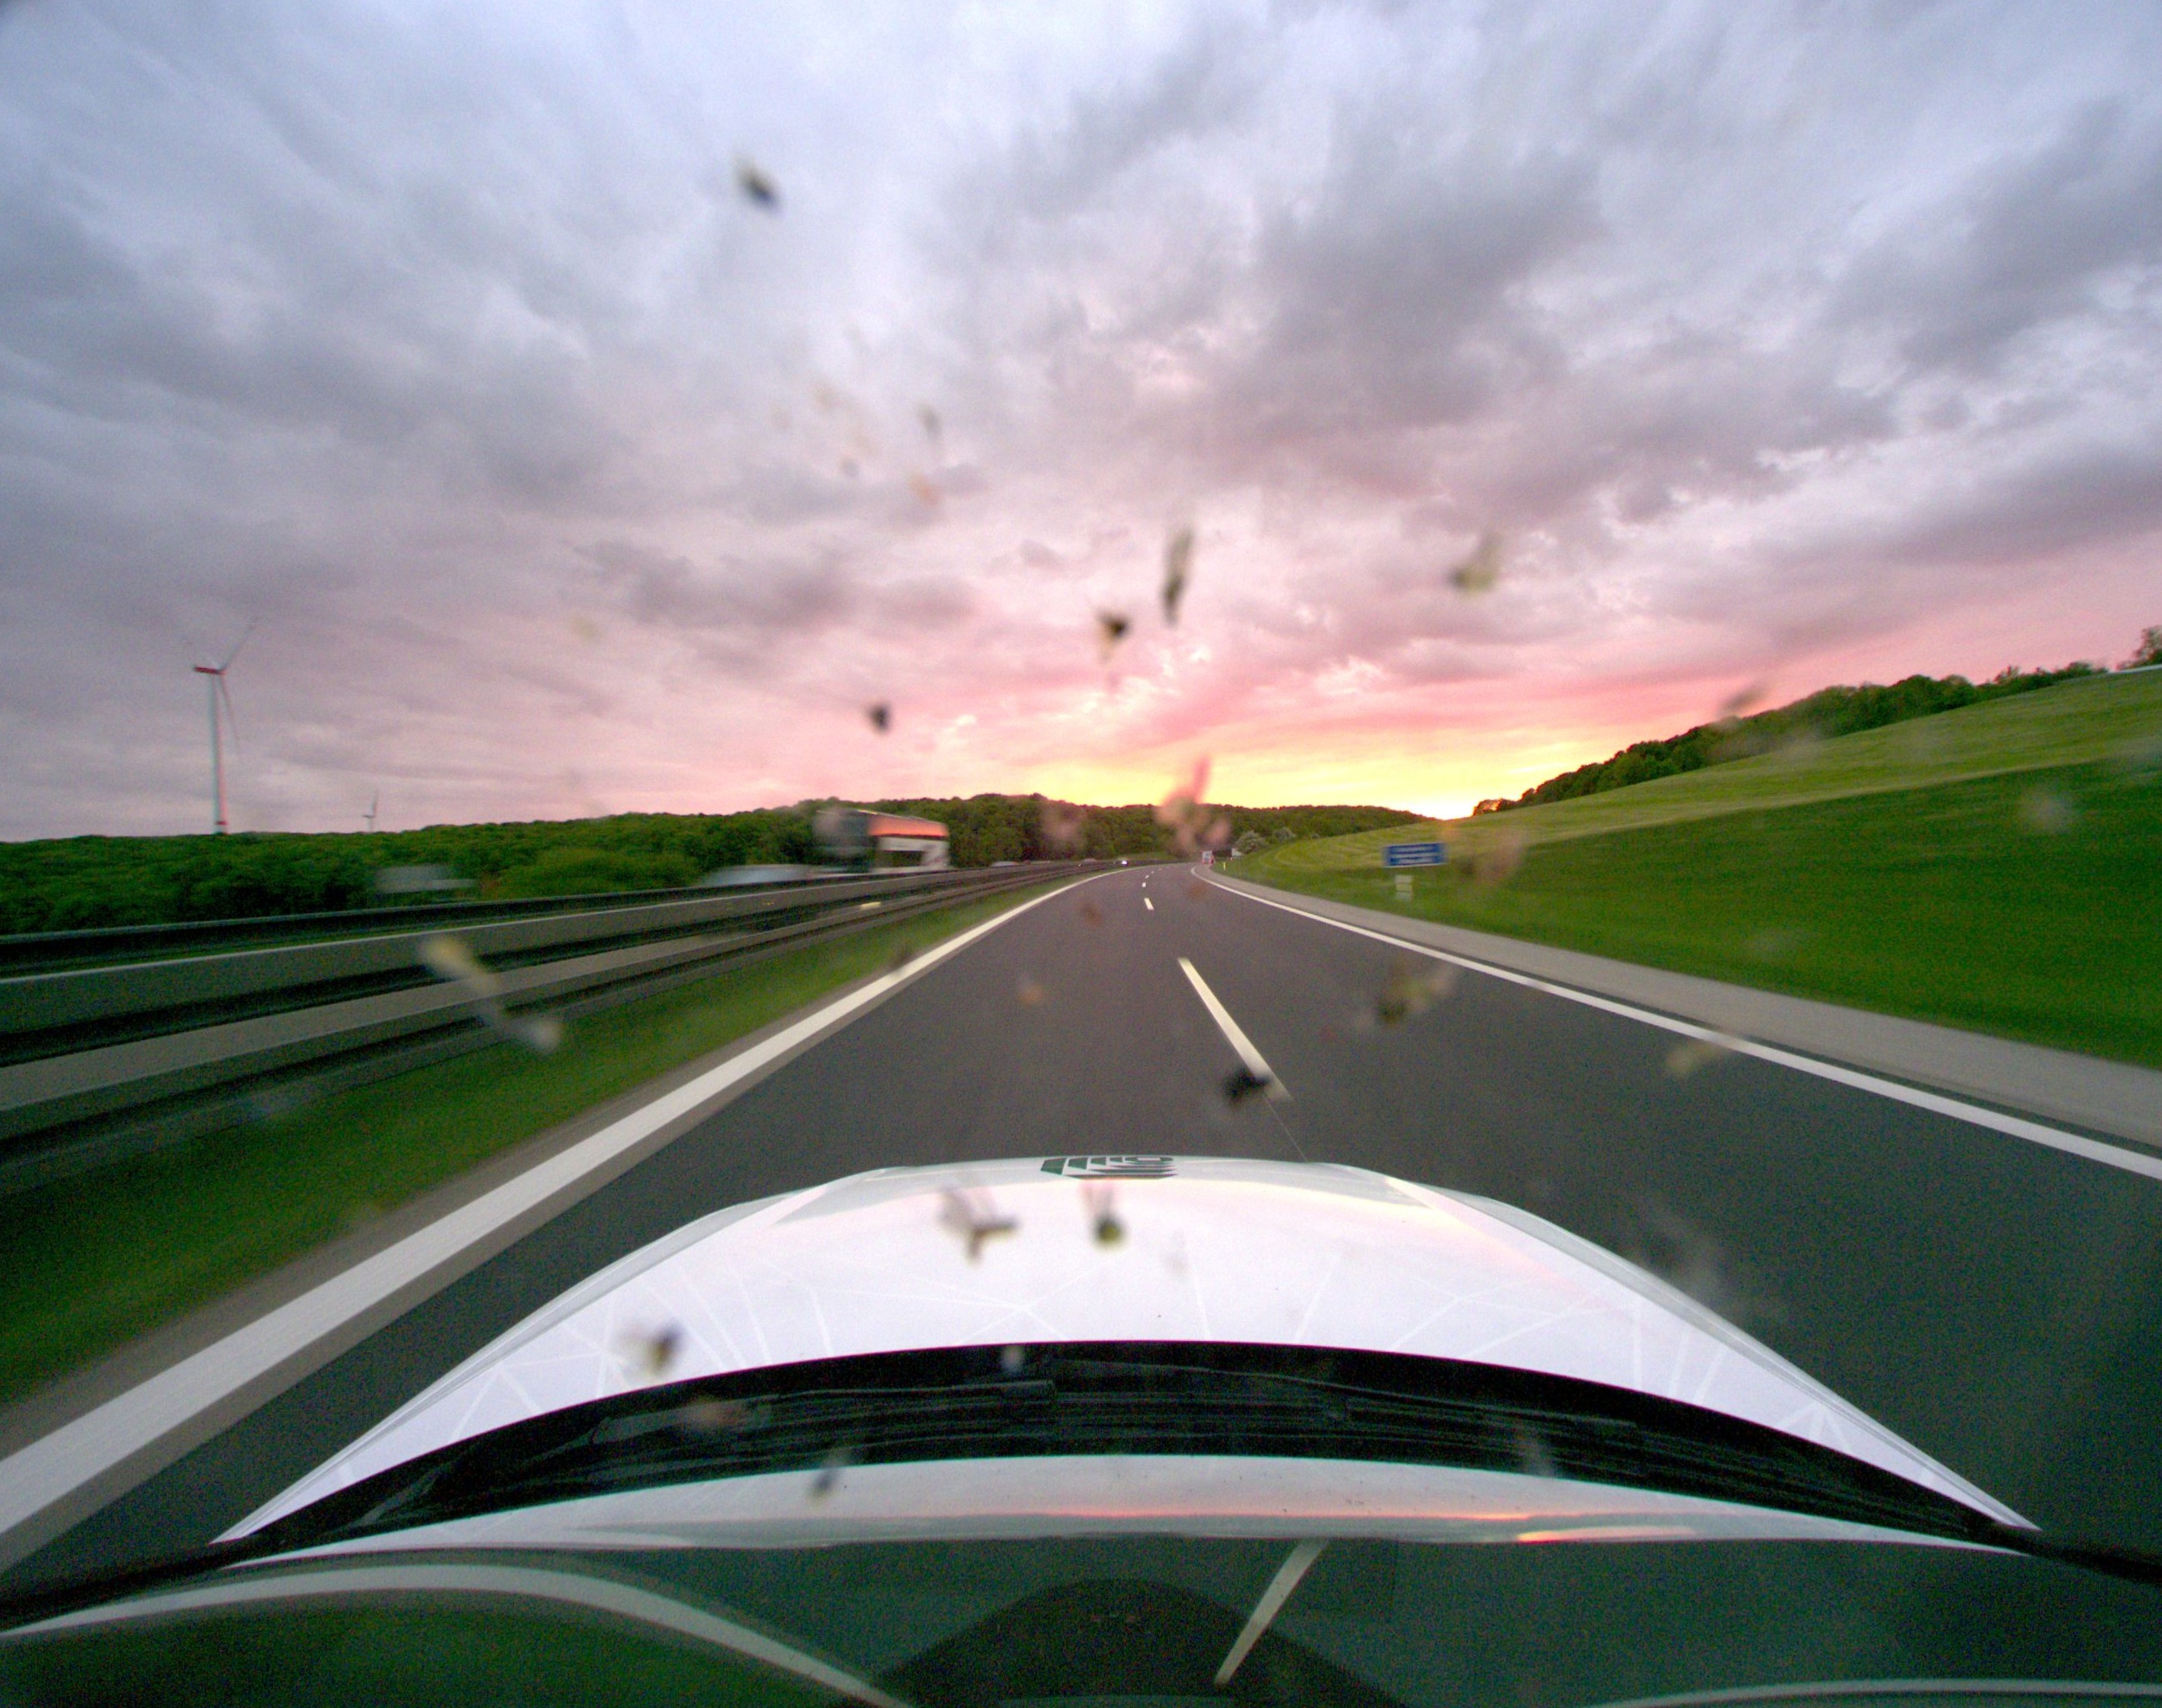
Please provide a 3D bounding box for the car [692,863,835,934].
[{"bbox_3d":[-7.812,1.023,20.512,1.625,1.555,4.473,0,0,3],"label":"car"}]

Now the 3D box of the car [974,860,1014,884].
[{"bbox_3d":[-5.868,1.218,55.429,1.841,1.475,4.175,-3,0,6],"label":"car"}]

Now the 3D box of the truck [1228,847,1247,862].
[{"bbox_3d":[46.745,0.232,242.603,3.926,4.287,14.388,-2,-1,18],"label":"truck"}]

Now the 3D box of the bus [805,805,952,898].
[{"bbox_3d":[-10.152,-0.029,43.478,3.152,4.076,14.826,0,-1,4],"label":"bus"}]

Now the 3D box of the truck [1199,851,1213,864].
[{"bbox_3d":[26.668,0.685,173.415,2.259,2.665,5.257,-3,0,15],"label":"truck"}]
